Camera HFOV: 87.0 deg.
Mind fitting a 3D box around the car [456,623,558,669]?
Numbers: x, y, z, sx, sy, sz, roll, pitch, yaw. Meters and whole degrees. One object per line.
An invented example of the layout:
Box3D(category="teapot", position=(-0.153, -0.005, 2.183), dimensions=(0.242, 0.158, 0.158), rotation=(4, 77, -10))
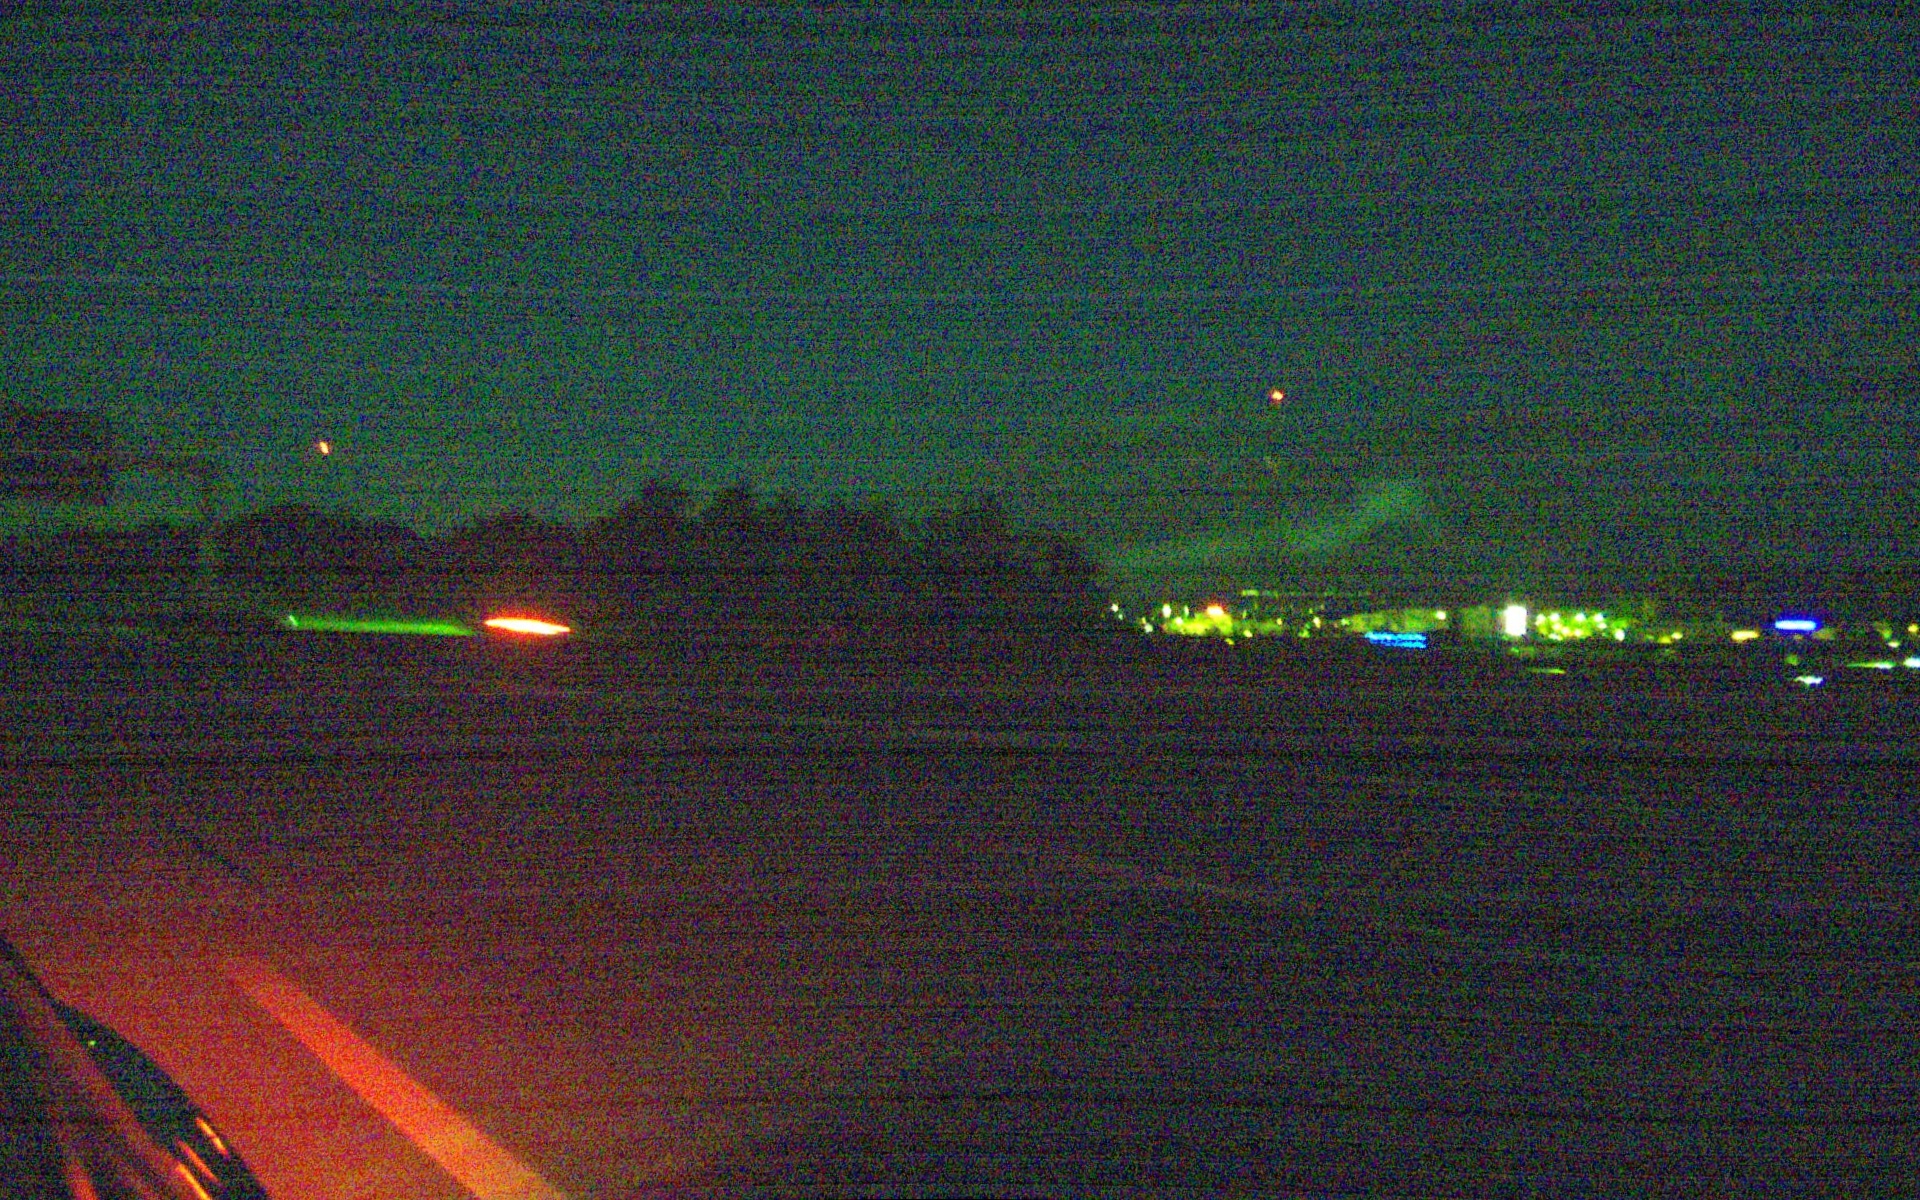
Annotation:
Box3D(category="car", position=(-18.681, 1.838, 41.655), dimensions=(5.070, 1.758, 1.972), rotation=(-2, -1, 42))
